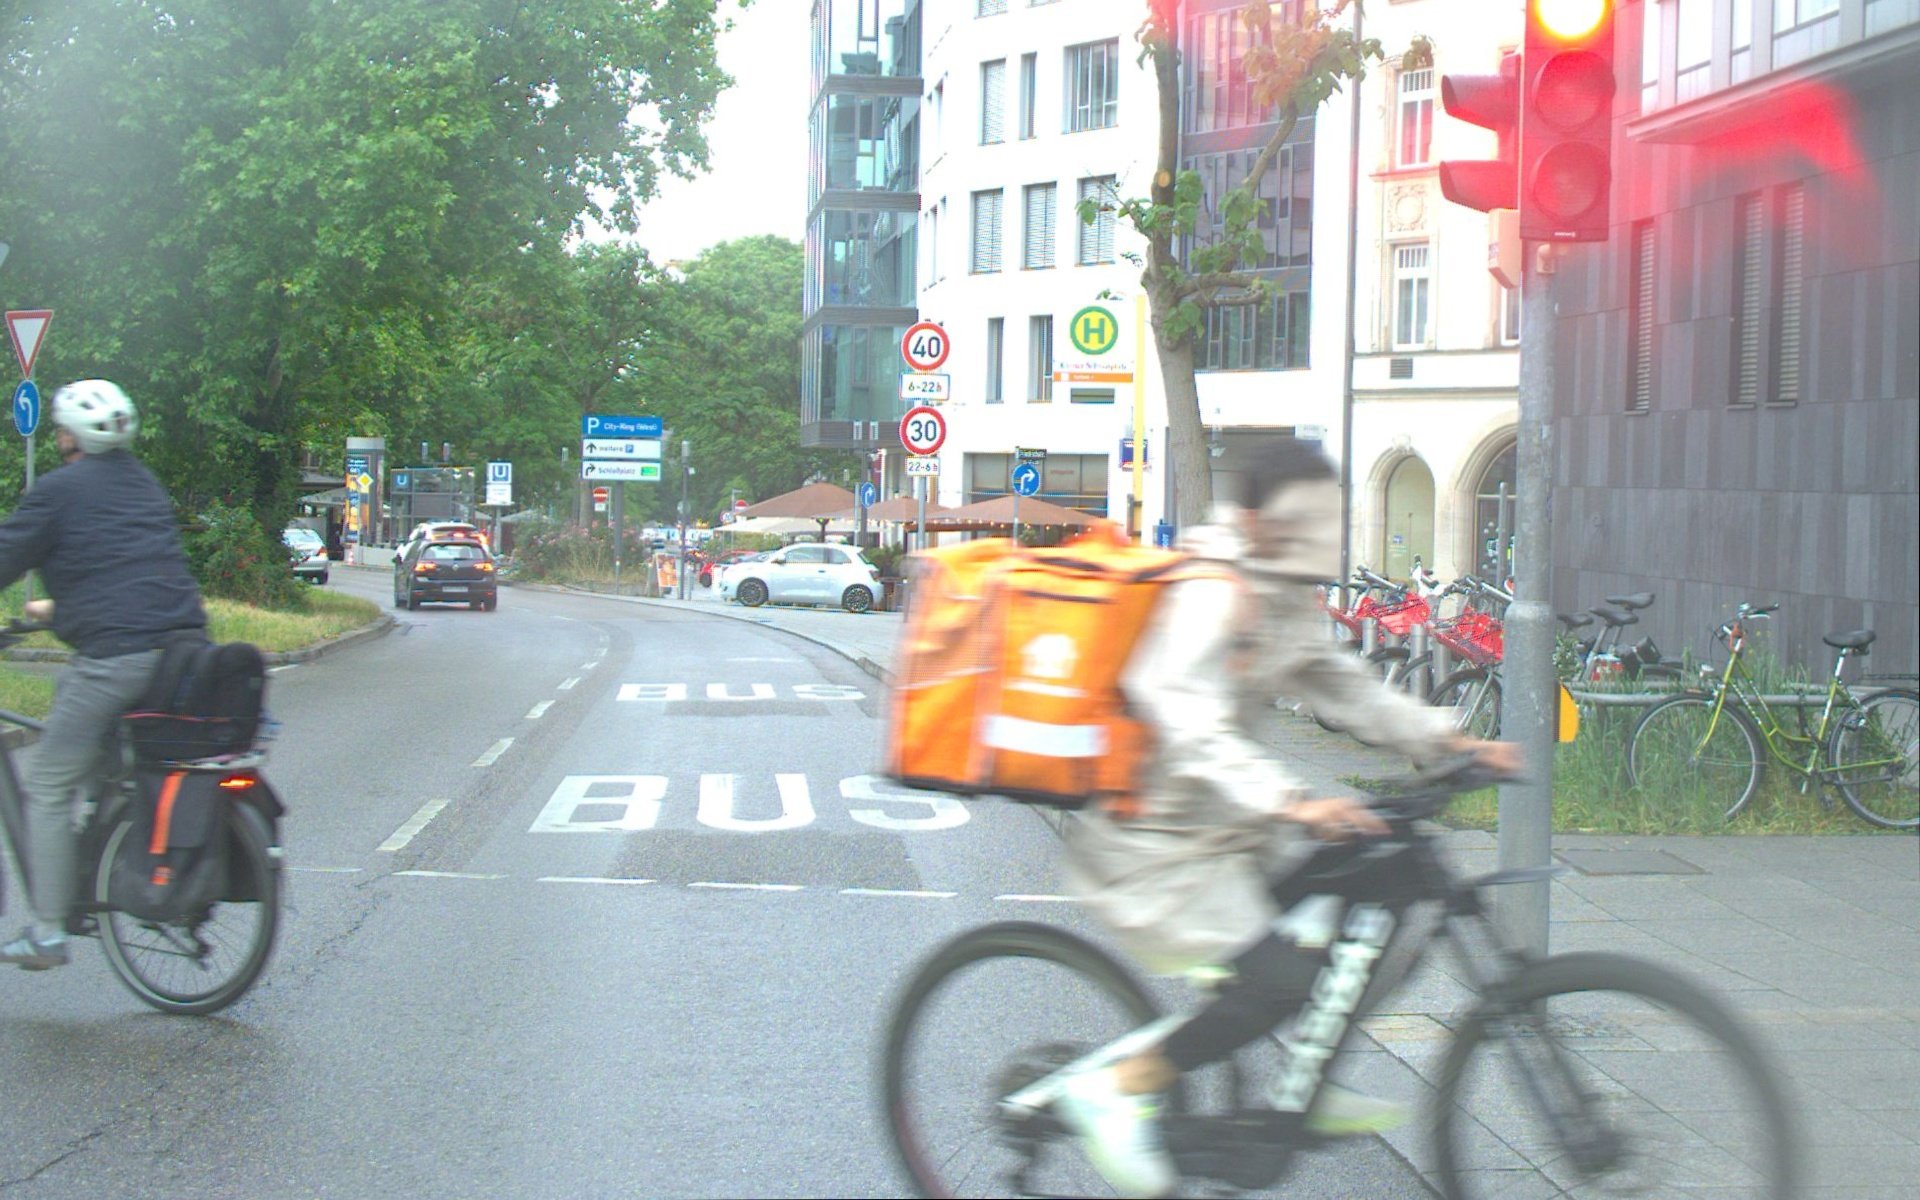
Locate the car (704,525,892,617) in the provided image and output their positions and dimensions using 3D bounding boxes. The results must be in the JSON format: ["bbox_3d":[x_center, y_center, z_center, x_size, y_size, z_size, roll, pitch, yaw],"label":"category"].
[{"bbox_3d":[-3.566,-0.649,76.434,3.987,1.641,2.000,5,1,-1],"label":"car"}]

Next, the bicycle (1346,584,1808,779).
[{"bbox_3d":[3.567,0.466,19.970,2.535,1.083,0.677,1,1,-5],"label":"bicycle"}]

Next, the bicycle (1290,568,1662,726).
[{"bbox_3d":[3.681,0.332,24.606,2.535,1.083,0.677,1,1,-5],"label":"bicycle"}]

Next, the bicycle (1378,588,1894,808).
[{"bbox_3d":[3.509,0.506,17.941,2.535,1.083,0.677,1,1,-5],"label":"bicycle"}]

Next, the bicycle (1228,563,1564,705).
[{"bbox_3d":[3.434,0.264,27.175,2.535,1.083,0.677,1,1,-5],"label":"bicycle"}]

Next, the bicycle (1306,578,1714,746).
[{"bbox_3d":[3.585,0.398,22.501,2.535,1.056,0.677,1,1,-5],"label":"bicycle"}]

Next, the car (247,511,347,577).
[{"bbox_3d":[-17.570,-1.495,91.017,1.944,1.641,4.246,1,1,-20],"label":"car"}]

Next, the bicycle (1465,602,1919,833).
[{"bbox_3d":[3.754,0.557,16.464,2.535,1.053,0.677,1,1,-5],"label":"bicycle"}]

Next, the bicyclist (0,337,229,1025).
[{"bbox_3d":[-3.014,0.234,10.952,1.083,2.076,0.762,1,1,24],"label":"bicyclist"}]

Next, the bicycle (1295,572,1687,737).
[{"bbox_3d":[3.603,0.367,23.410,2.535,1.083,0.677,1,1,-5],"label":"bicycle"}]

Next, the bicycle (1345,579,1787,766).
[{"bbox_3d":[3.656,0.432,20.824,2.535,1.083,0.677,1,1,-5],"label":"bicycle"}]

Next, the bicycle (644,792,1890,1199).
[{"bbox_3d":[0.547,1.024,6.480,2.064,1.110,1.010,4,1,32],"label":"bicycle"}]

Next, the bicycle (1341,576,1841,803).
[{"bbox_3d":[3.422,0.483,18.744,2.535,1.083,0.677,3,1,-5],"label":"bicycle"}]

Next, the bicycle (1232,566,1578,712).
[{"bbox_3d":[3.408,0.293,26.423,2.535,1.083,0.677,1,1,-5],"label":"bicycle"}]

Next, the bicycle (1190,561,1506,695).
[{"bbox_3d":[3.243,0.233,28.811,2.535,1.083,0.677,1,1,-5],"label":"bicycle"}]

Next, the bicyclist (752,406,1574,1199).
[{"bbox_3d":[0.401,0.471,6.577,1.134,1.577,1.013,4,1,31],"label":"bicyclist"}]

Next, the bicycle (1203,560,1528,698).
[{"bbox_3d":[3.299,0.235,28.064,2.535,1.083,0.677,1,1,-5],"label":"bicycle"}]

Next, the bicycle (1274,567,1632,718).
[{"bbox_3d":[3.658,0.313,25.584,2.535,1.083,0.677,1,1,-5],"label":"bicycle"}]

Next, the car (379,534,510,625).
[{"bbox_3d":[-10.511,-0.445,69.860,2.161,1.700,4.555,1,1,-14],"label":"car"}]

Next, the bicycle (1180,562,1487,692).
[{"bbox_3d":[3.199,0.228,29.533,2.535,1.083,0.627,1,1,-5],"label":"bicycle"}]

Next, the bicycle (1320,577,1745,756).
[{"bbox_3d":[3.590,0.412,21.634,2.535,1.083,0.677,1,1,-5],"label":"bicycle"}]

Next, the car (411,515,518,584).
[{"bbox_3d":[-13.019,-1.334,90.162,2.178,1.695,4.001,1,1,-16],"label":"car"}]

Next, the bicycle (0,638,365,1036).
[{"bbox_3d":[-3.017,0.705,10.975,2.128,1.141,0.762,1,1,24],"label":"bicycle"}]
